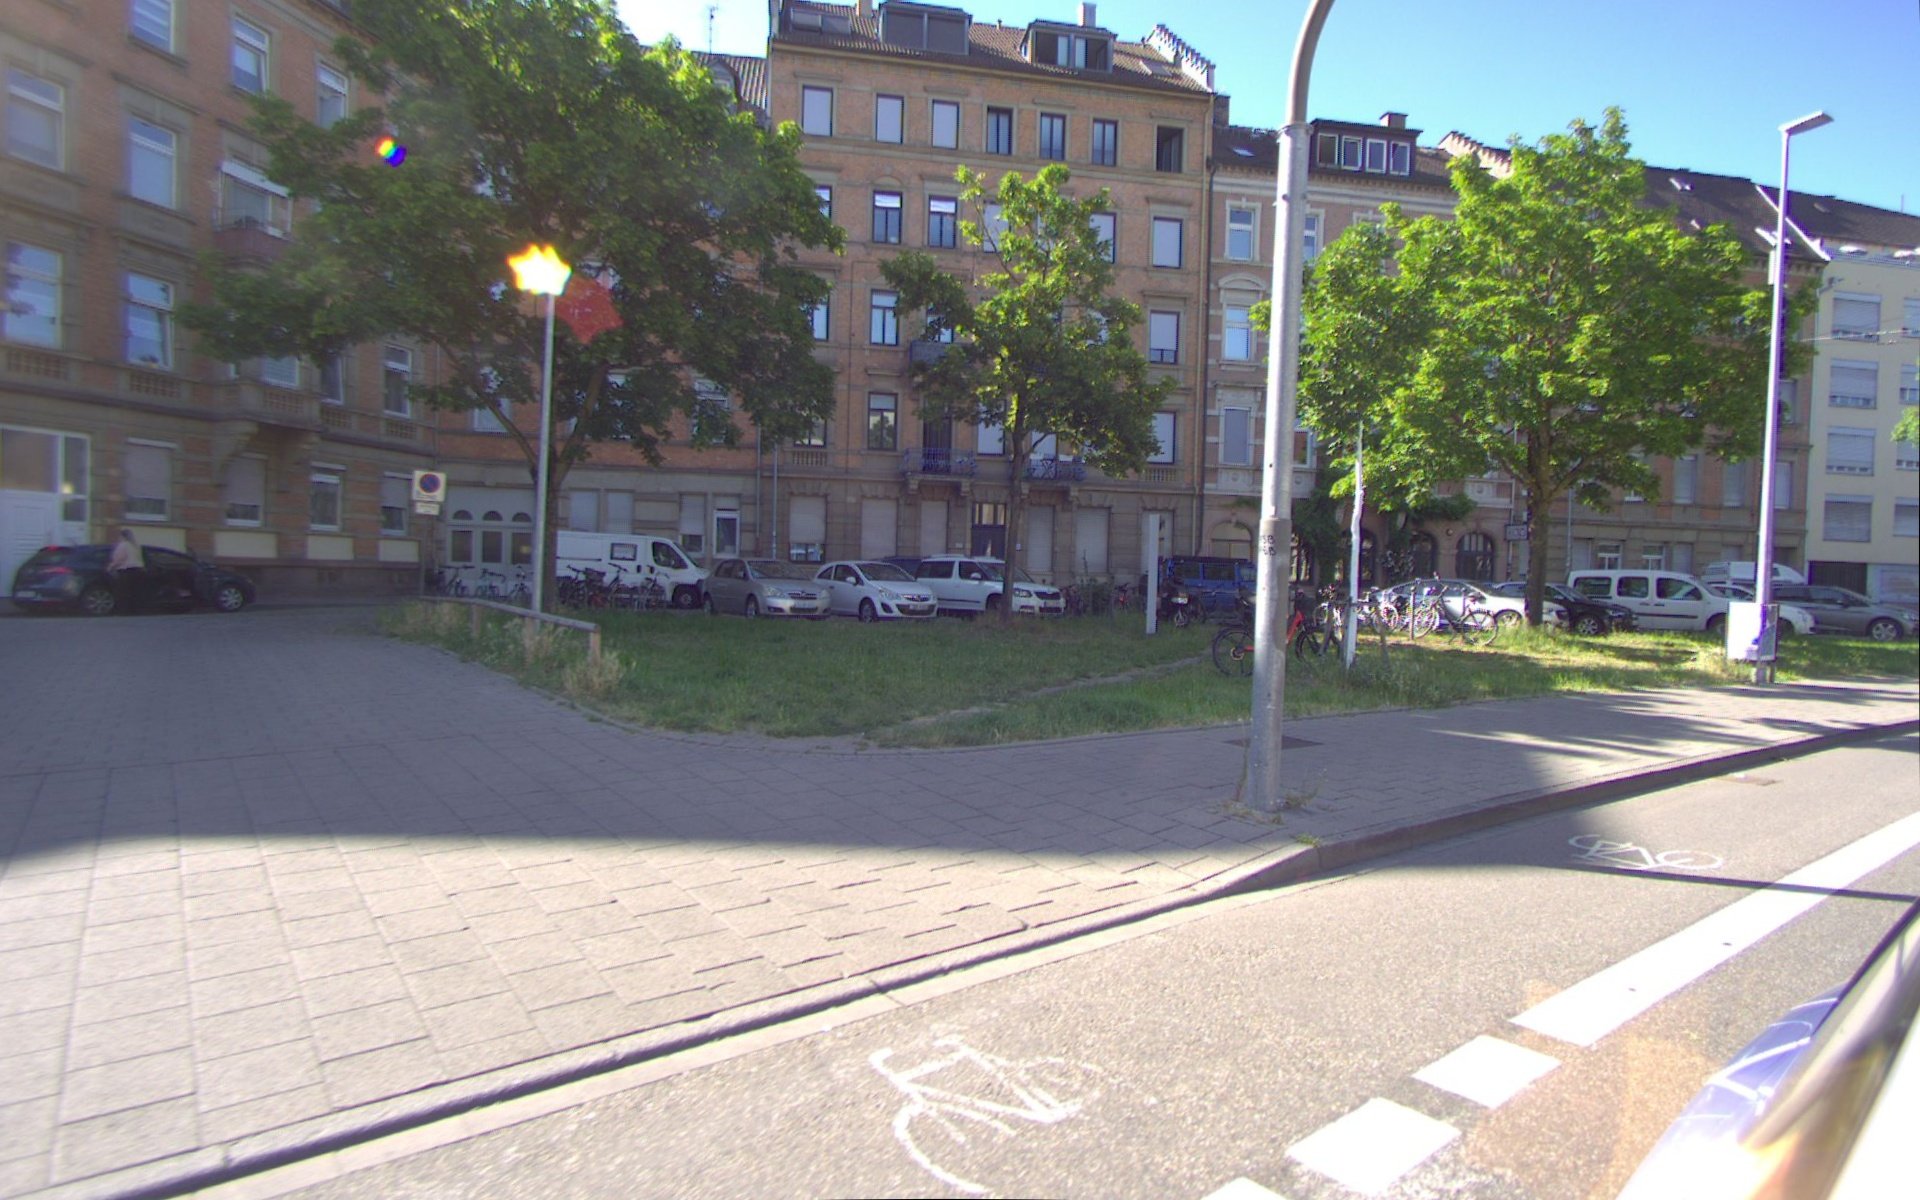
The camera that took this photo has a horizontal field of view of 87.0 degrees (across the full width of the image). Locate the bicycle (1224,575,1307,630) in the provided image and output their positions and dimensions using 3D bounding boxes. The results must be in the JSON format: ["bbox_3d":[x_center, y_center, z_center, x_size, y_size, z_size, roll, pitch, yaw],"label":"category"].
[{"bbox_3d":[6.928,0.031,23.072,0.805,1.173,2.174,1,1,-13],"label":"bicycle"}]

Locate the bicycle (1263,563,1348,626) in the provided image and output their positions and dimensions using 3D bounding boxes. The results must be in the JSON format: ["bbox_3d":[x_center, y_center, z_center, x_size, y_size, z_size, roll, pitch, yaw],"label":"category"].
[{"bbox_3d":[7.894,-0.146,23.229,0.771,1.382,2.105,1,1,-14],"label":"bicycle"}]

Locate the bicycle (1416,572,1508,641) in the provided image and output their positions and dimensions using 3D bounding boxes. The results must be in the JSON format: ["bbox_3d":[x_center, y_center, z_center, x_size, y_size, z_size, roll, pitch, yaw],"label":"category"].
[{"bbox_3d":[10.330,0.117,20.845,1.585,1.306,0.762,4,2,31],"label":"bicycle"}]

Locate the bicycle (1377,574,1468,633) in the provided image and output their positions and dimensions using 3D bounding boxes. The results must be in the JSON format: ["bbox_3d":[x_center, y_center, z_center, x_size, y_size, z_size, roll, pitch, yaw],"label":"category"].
[{"bbox_3d":[10.370,0.057,22.786,0.881,1.195,1.955,1,3,-10],"label":"bicycle"}]

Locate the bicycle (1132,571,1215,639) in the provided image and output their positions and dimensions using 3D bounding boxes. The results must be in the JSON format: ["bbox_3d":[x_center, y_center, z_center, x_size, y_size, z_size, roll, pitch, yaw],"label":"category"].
[{"bbox_3d":[4.698,0.080,22.407,0.771,1.416,2.105,1,1,-20],"label":"bicycle"}]

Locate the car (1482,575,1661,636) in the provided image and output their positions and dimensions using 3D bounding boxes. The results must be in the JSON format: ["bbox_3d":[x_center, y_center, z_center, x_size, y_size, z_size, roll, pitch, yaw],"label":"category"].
[{"bbox_3d":[15.886,0.102,26.398,1.892,1.397,3.608,1,1,-42],"label":"car"}]

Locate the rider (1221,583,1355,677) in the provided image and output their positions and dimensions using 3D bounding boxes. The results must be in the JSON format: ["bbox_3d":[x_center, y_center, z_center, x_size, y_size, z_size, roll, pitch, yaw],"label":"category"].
[{"bbox_3d":[4.525,0.400,14.026,1.648,1.190,0.502,3,1,9],"label":"rider"}]

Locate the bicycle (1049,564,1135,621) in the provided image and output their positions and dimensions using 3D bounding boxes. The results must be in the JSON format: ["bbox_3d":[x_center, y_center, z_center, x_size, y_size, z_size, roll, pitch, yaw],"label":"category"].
[{"bbox_3d":[3.385,-0.204,26.021,2.091,1.382,0.776,2,1,41],"label":"bicycle"}]

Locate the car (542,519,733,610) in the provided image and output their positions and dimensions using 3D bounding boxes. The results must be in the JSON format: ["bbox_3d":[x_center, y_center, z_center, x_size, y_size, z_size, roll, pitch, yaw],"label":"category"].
[{"bbox_3d":[-9.550,-1.069,30.427,5.081,2.386,2.361,2,2,-8],"label":"car"}]

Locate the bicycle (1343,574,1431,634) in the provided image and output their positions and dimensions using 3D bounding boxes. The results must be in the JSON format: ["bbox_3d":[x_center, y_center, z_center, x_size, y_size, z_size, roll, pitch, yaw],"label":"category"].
[{"bbox_3d":[9.488,0.060,22.582,0.824,1.206,1.968,2,3,-9],"label":"bicycle"}]

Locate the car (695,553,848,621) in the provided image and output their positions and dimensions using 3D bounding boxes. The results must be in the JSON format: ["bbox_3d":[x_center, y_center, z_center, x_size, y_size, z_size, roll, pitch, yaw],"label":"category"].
[{"bbox_3d":[-4.269,-0.328,22.425,1.804,1.354,4.058,1,1,-35],"label":"car"}]

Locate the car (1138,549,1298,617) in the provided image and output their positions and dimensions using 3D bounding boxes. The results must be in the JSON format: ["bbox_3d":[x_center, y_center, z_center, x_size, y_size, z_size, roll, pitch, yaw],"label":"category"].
[{"bbox_3d":[8.545,-0.579,33.701,4.627,2.001,2.004,2,2,-9],"label":"car"}]

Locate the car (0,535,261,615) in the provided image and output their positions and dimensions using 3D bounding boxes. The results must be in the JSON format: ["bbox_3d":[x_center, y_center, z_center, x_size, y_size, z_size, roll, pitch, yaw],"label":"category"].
[{"bbox_3d":[-17.086,-0.504,20.837,1.974,1.454,4.085,2,1,18],"label":"car"}]

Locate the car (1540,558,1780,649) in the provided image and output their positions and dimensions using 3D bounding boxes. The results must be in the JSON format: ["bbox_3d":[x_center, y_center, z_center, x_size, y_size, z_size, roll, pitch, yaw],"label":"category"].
[{"bbox_3d":[18.596,-0.010,27.073,2.065,2.037,4.873,-1,4,-42],"label":"car"}]

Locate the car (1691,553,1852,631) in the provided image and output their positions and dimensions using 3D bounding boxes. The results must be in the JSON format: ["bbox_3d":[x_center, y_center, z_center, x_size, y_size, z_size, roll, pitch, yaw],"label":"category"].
[{"bbox_3d":[30.064,-0.328,37.568,4.421,2.616,2.004,2,2,-7],"label":"car"}]

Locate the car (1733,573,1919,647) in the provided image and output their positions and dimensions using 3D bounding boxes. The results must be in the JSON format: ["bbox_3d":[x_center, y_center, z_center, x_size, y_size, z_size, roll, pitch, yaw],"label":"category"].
[{"bbox_3d":[24.650,0.231,28.229,1.964,1.748,4.512,0,4,-38],"label":"car"}]

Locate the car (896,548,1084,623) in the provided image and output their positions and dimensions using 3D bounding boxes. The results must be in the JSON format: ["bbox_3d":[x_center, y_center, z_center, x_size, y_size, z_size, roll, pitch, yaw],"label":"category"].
[{"bbox_3d":[0.594,-0.382,23.691,1.903,1.585,4.466,1,1,-40],"label":"car"}]

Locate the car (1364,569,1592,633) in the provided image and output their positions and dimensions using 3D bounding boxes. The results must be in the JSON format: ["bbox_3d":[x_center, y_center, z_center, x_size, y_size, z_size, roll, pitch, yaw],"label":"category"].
[{"bbox_3d":[13.032,-0.029,25.715,2.011,1.397,4.744,1,1,-42],"label":"car"}]

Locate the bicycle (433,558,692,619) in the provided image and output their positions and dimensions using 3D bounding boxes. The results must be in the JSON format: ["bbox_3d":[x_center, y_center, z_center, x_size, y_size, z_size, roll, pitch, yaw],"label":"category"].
[{"bbox_3d":[-8.710,-0.263,22.805,5.112,1.141,2.689,1,1,-14],"label":"bicycle"}]

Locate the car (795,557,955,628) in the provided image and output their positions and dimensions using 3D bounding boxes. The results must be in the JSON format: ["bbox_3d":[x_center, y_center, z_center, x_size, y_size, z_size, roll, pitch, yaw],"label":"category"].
[{"bbox_3d":[-2.020,-0.212,23.129,1.728,1.459,3.840,1,1,-40],"label":"car"}]

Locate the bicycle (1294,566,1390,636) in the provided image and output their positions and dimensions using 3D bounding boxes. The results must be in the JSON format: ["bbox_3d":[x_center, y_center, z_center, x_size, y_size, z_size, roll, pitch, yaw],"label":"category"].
[{"bbox_3d":[7.900,-0.009,21.044,0.771,1.382,2.105,1,1,-14],"label":"bicycle"}]

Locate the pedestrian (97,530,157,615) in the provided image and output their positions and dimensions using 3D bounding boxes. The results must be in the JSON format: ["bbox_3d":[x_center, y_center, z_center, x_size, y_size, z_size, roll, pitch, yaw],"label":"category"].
[{"bbox_3d":[-15.972,-0.529,19.406,0.765,1.596,0.636,2,1,29],"label":"pedestrian"}]

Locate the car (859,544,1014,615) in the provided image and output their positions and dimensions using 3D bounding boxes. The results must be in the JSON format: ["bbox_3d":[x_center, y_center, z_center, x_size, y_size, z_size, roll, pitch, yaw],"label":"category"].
[{"bbox_3d":[-0.800,-0.677,32.178,4.627,2.001,2.004,2,2,-9],"label":"car"}]

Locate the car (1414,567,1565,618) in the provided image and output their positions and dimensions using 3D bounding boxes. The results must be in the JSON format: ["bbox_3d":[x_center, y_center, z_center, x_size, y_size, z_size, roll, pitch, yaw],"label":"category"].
[{"bbox_3d":[18.693,-0.280,35.792,4.418,1.547,2.005,2,3,-13],"label":"car"}]

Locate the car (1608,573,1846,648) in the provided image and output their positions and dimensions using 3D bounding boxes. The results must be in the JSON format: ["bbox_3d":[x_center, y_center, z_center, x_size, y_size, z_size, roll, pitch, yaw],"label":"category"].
[{"bbox_3d":[21.279,0.214,28.269,2.062,1.667,4.880,0,4,-38],"label":"car"}]
